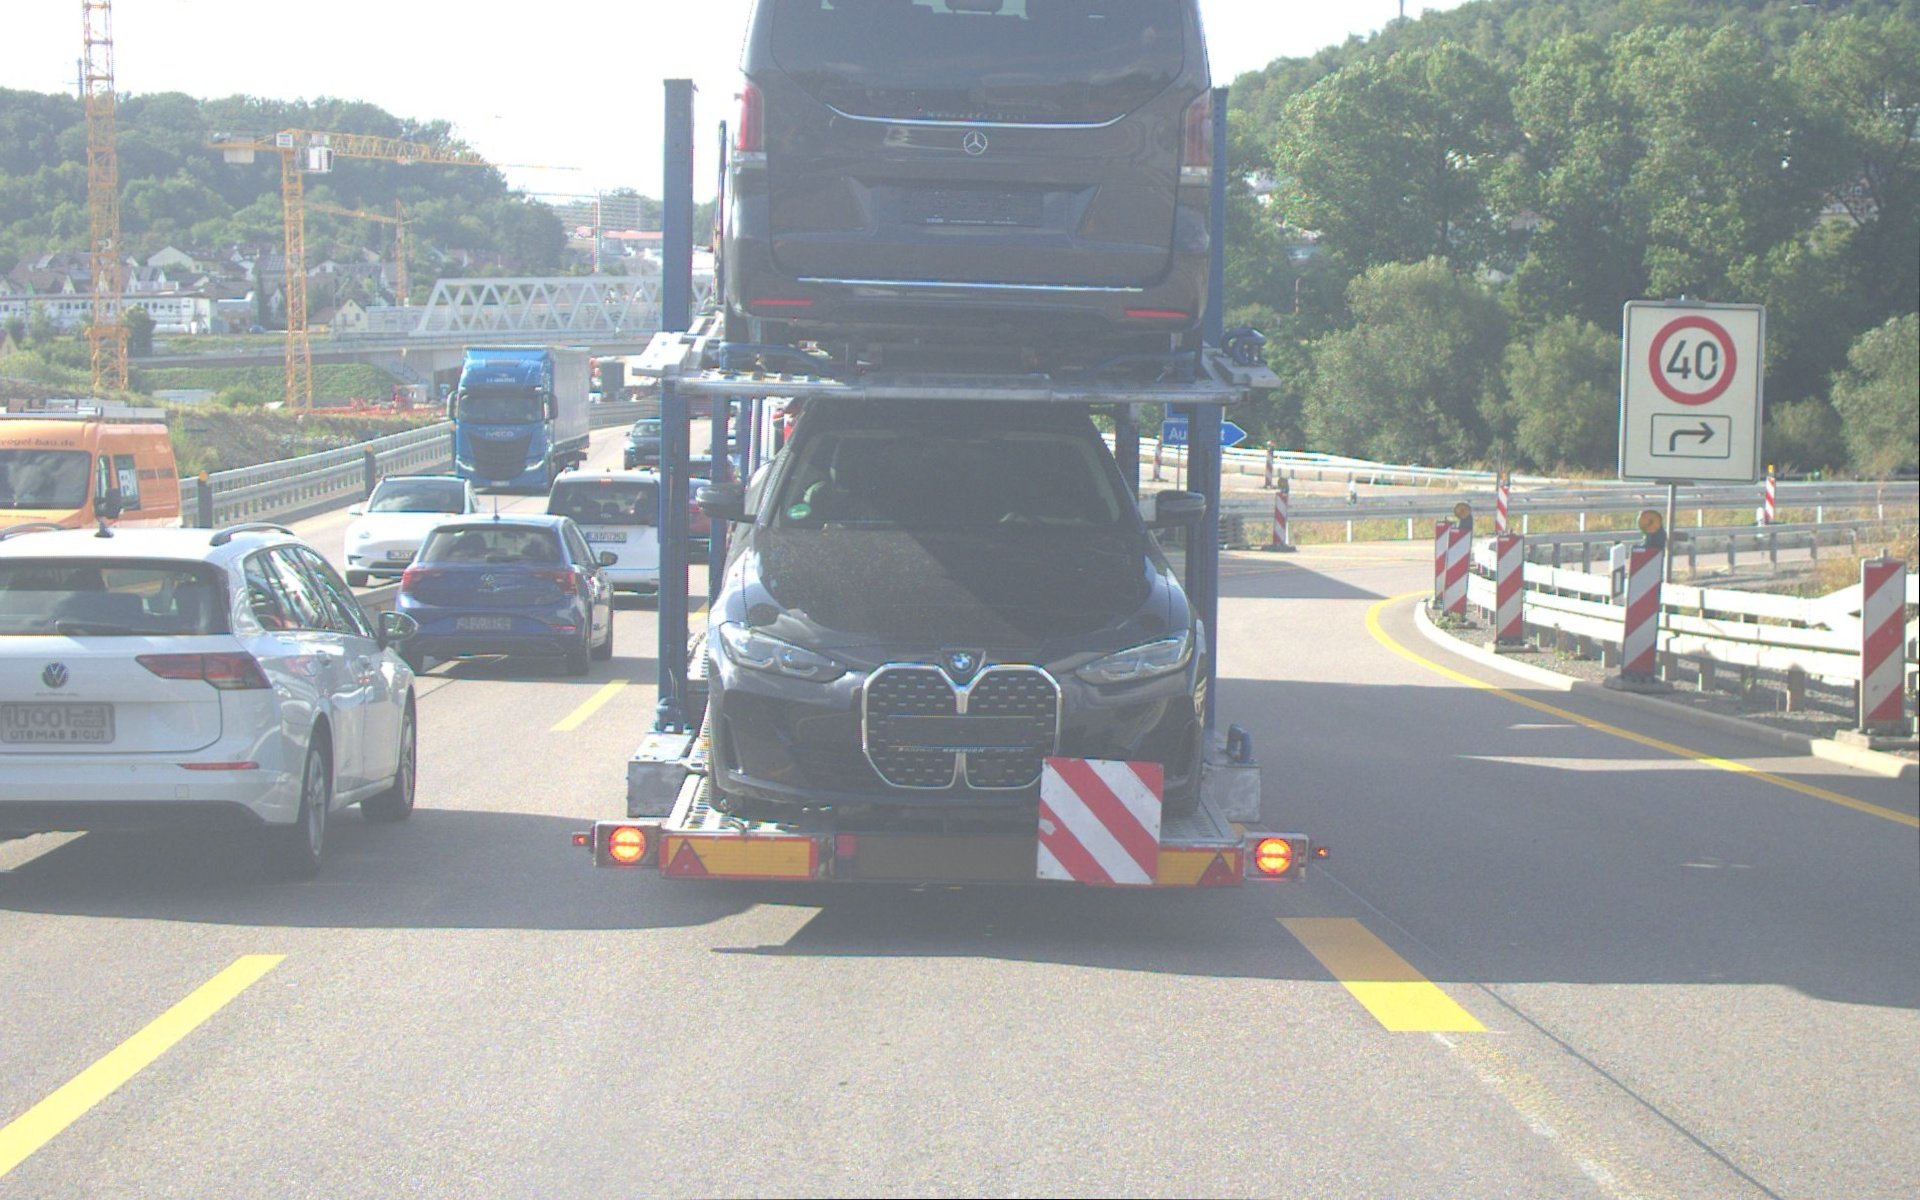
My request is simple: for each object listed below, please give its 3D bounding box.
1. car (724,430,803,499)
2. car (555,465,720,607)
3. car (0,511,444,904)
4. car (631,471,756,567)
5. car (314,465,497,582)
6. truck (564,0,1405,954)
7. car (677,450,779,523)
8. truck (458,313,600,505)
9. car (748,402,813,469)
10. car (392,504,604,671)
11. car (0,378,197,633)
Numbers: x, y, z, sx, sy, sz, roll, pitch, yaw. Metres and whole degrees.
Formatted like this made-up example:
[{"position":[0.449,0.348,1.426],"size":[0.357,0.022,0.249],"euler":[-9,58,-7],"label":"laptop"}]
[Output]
[{"position":[-5.363,-3.702,94.271],"size":[1.993,1.660,4.000],"euler":[1,-1,-1],"label":"car"},{"position":[-4.327,-0.830,46.669],"size":[1.823,1.786,4.000],"euler":[1,-1,0],"label":"car"},{"position":[-3.547,0.376,15.445],"size":[1.770,1.486,4.517],"euler":[1,1,0],"label":"car"},{"position":[-4.744,-1.418,61.675],"size":[1.993,1.551,4.401],"euler":[1,-1,-2],"label":"car"},{"position":[-8.385,-1.176,52.300],"size":[1.993,1.678,4.000],"euler":[1,1,2],"label":"car"},{"position":[-0.199,-0.983,21.126],"size":[2.753,3.941,18.892],"euler":[2,1,-2],"label":"truck"},{"position":[-5.130,-2.527,76.531],"size":[1.993,1.546,4.000],"euler":[1,2,0],"label":"car"},{"position":[-12.505,-5.424,100.878],"size":[2.822,4.772,13.055],"euler":[1,-1,-2],"label":"truck"},{"position":[-6.019,-5.511,115.746],"size":[1.993,2.007,4.000],"euler":[1,-1,-1],"label":"car"},{"position":[-4.217,-0.133,31.860],"size":[1.721,1.417,4.001],"euler":[1,1,-5],"label":"car"},{"position":[-10.959,-1.157,41.856],"size":[1.993,2.869,6.065],"euler":[1,2,0],"label":"car"}]
